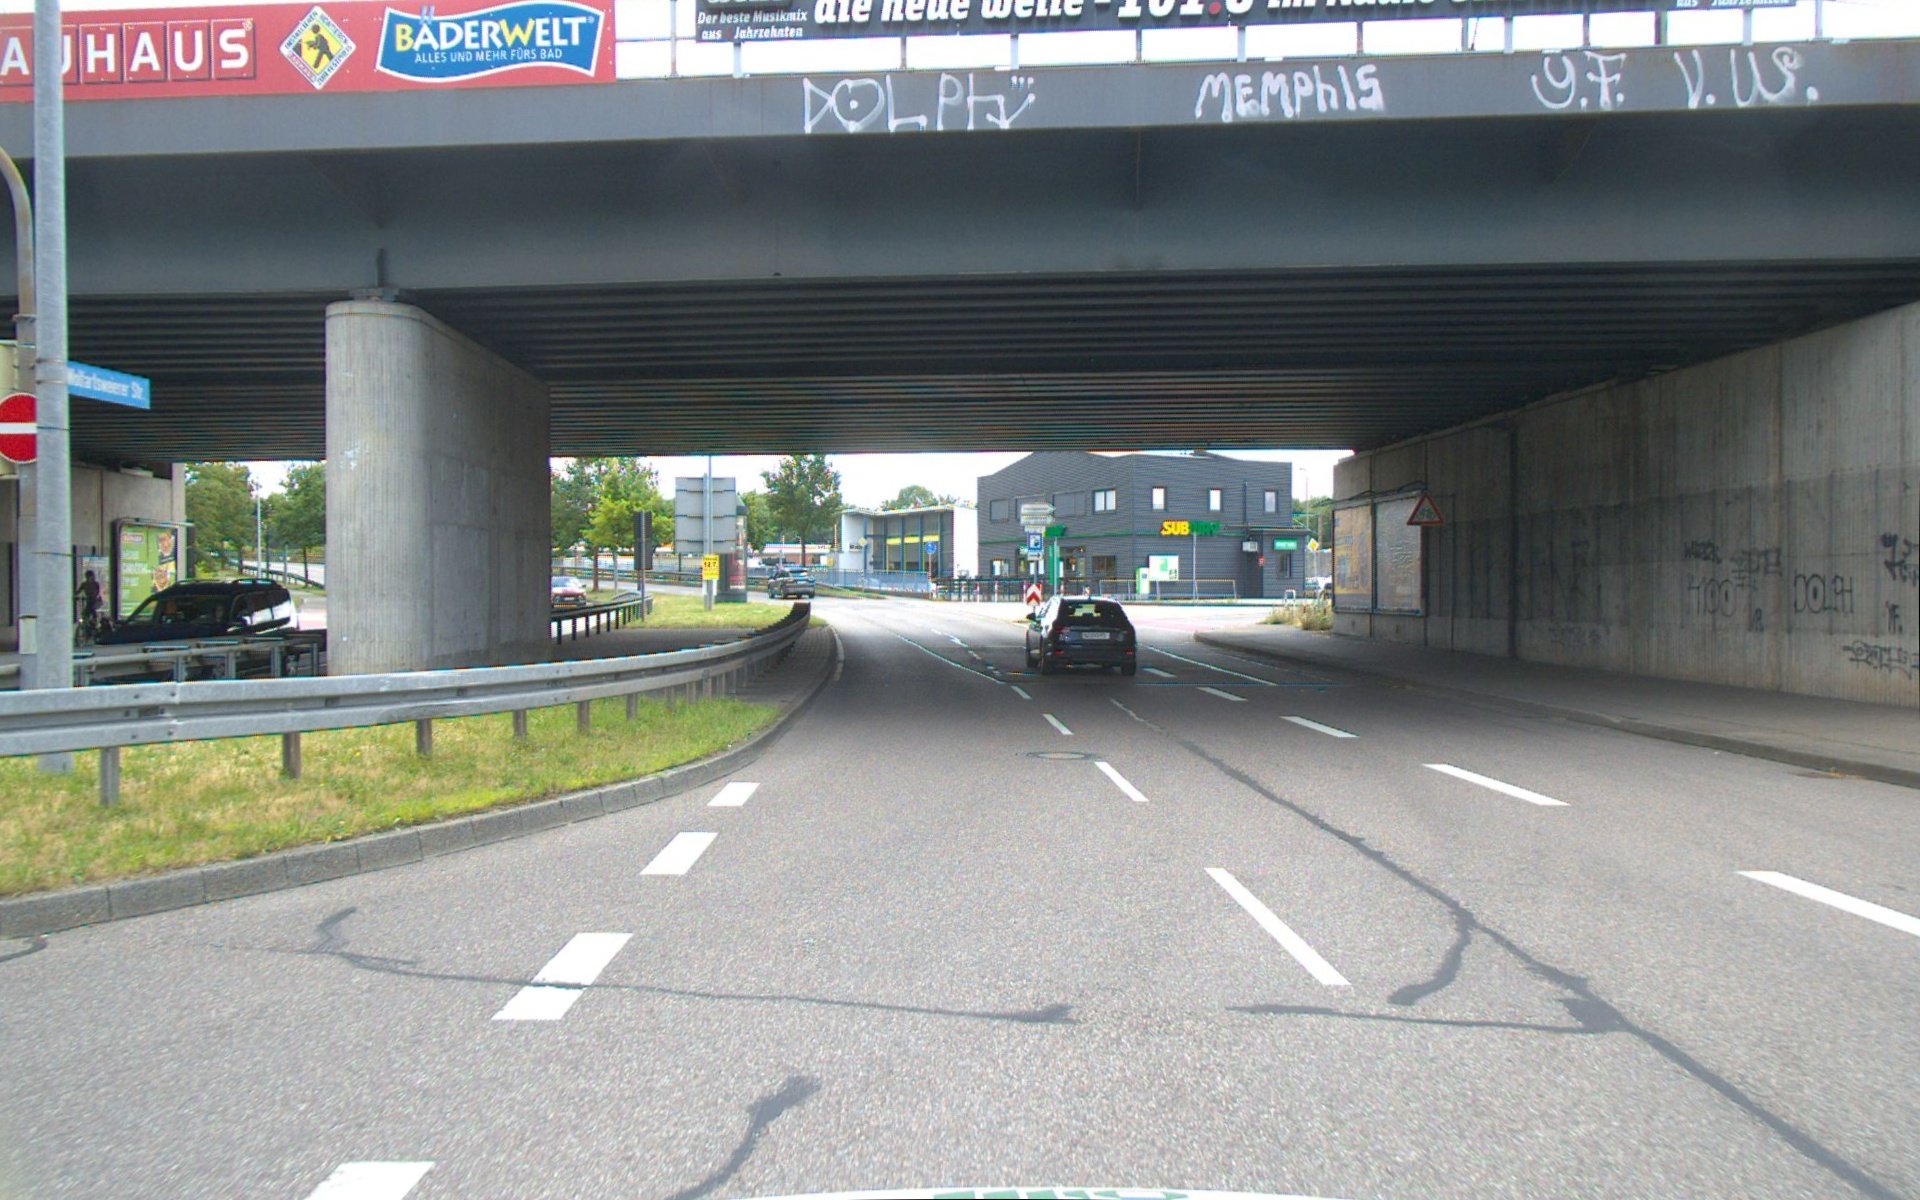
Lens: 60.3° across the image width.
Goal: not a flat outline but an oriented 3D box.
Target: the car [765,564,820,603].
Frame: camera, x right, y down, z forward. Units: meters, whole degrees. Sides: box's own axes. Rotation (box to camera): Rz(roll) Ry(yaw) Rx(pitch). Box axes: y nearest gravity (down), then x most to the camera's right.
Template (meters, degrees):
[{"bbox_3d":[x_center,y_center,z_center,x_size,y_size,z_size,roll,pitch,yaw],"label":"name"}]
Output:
[{"bbox_3d":[-9.231,-0.907,90.755,1.964,2.073,4.685,-1,0,-20],"label":"car"}]

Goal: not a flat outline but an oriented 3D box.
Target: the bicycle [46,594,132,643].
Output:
[{"bbox_3d":[-21.179,0.445,40.262,0.666,1.162,2.285,1,0,6],"label":"bicycle"}]

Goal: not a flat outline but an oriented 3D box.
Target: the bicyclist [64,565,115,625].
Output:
[{"bbox_3d":[-21.170,-0.129,40.239,0.667,1.432,0.925,1,0,6],"label":"bicyclist"}]

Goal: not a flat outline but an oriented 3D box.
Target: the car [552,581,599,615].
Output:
[{"bbox_3d":[-19.628,-0.126,84.573,1.956,1.704,4.315,-1,0,-8],"label":"car"}]

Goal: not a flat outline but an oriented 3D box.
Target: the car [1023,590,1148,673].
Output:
[{"bbox_3d":[2.335,0.554,31.896,1.953,1.414,4.575,1,1,-1],"label":"car"}]

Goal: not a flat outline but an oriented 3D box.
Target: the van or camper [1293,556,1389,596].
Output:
[{"bbox_3d":[22.409,-1.389,97.043,6.184,2.211,2.097,1,0,-39],"label":"van or camper"}]

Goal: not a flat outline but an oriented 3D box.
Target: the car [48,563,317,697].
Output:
[{"bbox_3d":[-11.421,0.383,24.705,1.954,1.789,4.714,-1,0,-3],"label":"car"}]
